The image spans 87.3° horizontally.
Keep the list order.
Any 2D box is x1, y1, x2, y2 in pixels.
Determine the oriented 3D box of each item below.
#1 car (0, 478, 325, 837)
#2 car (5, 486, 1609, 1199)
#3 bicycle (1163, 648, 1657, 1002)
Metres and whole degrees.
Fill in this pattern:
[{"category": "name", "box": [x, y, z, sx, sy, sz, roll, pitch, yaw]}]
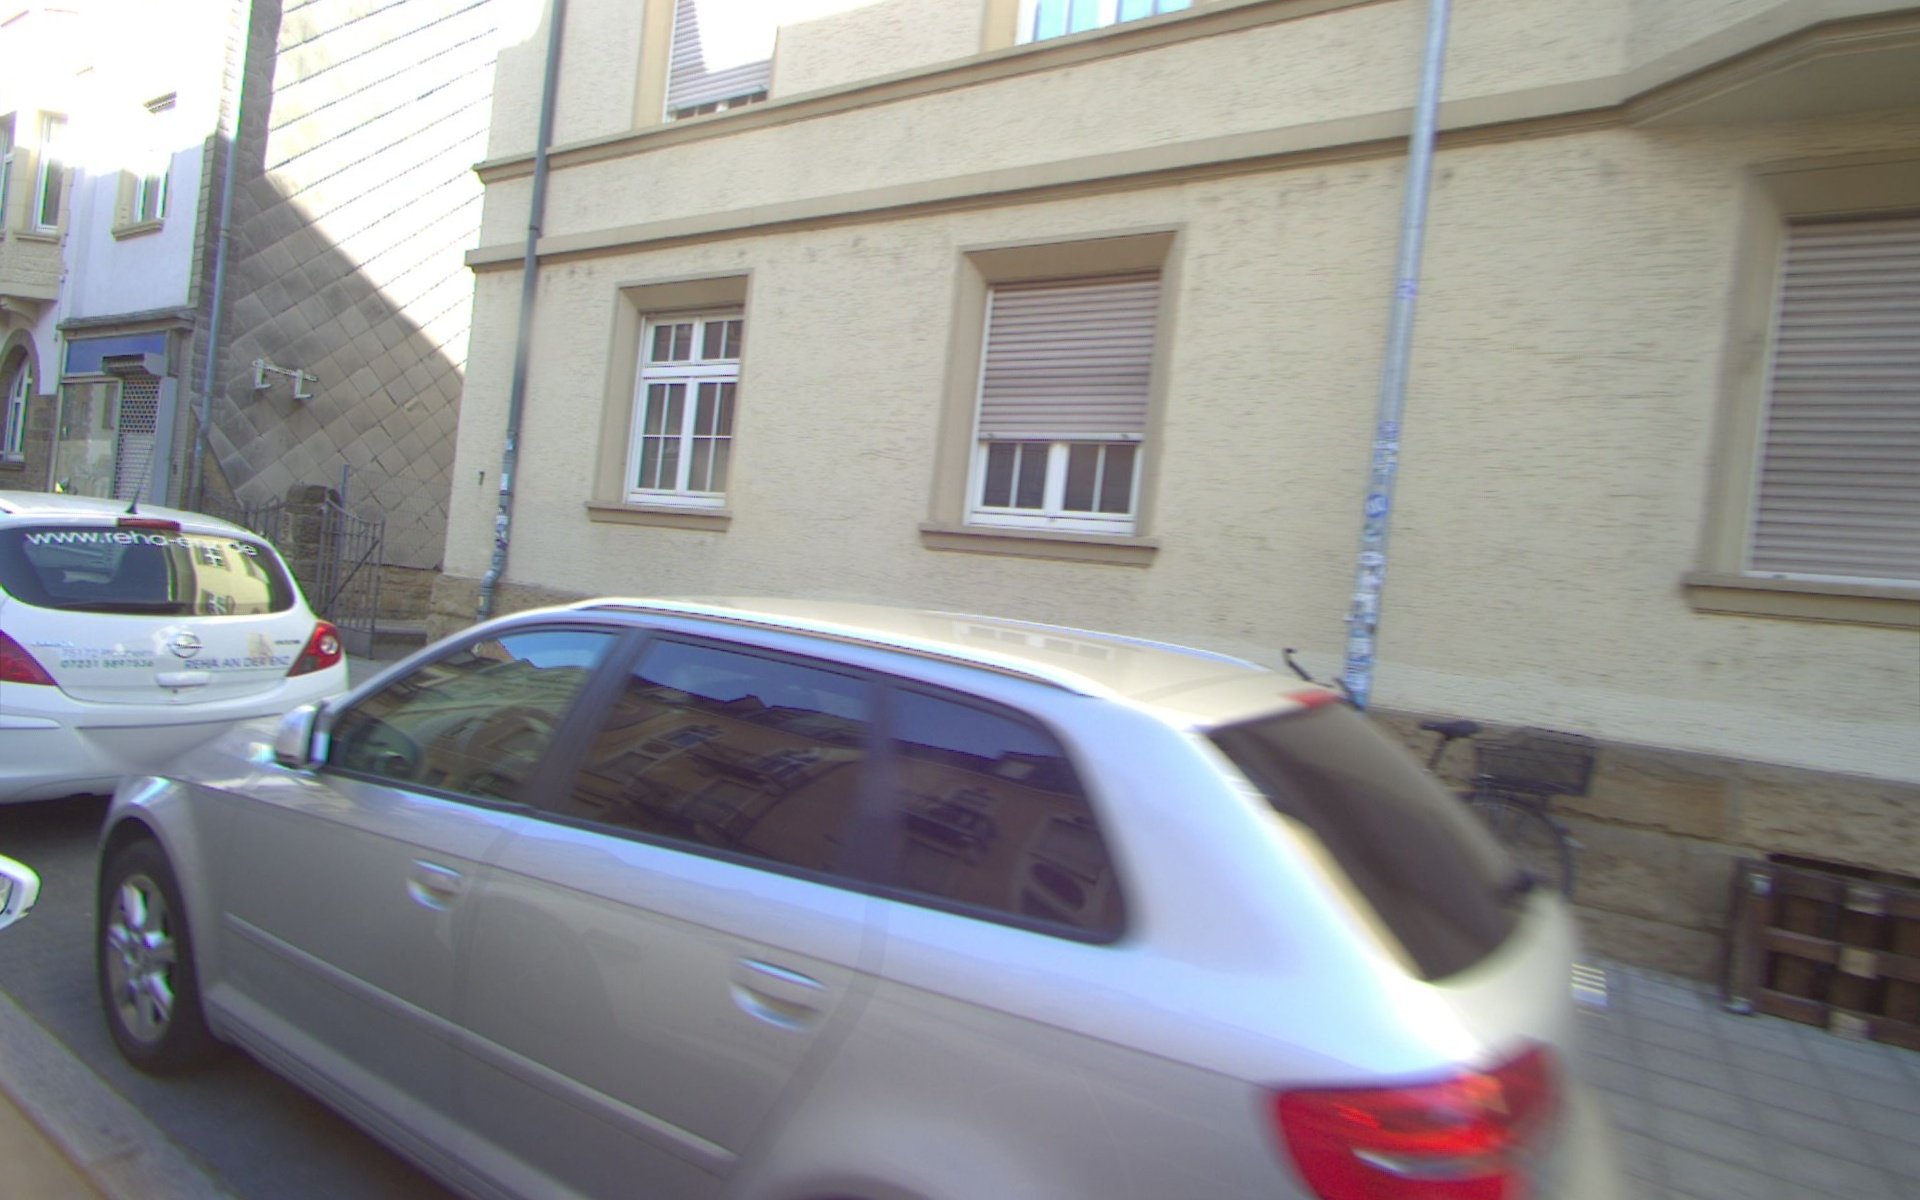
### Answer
[{"category": "car", "box": [-5.299, 0.086, 5.400, 3.649, 1.482, 1.588, 7, 1, 30]}, {"category": "car", "box": [-0.740, 0.645, 2.757, 4.026, 1.482, 1.654, 7, 0, 31]}, {"category": "bicycle", "box": [2.108, 0.972, 4.924, 1.921, 1.215, 0.831, 7, 0, 26]}]
